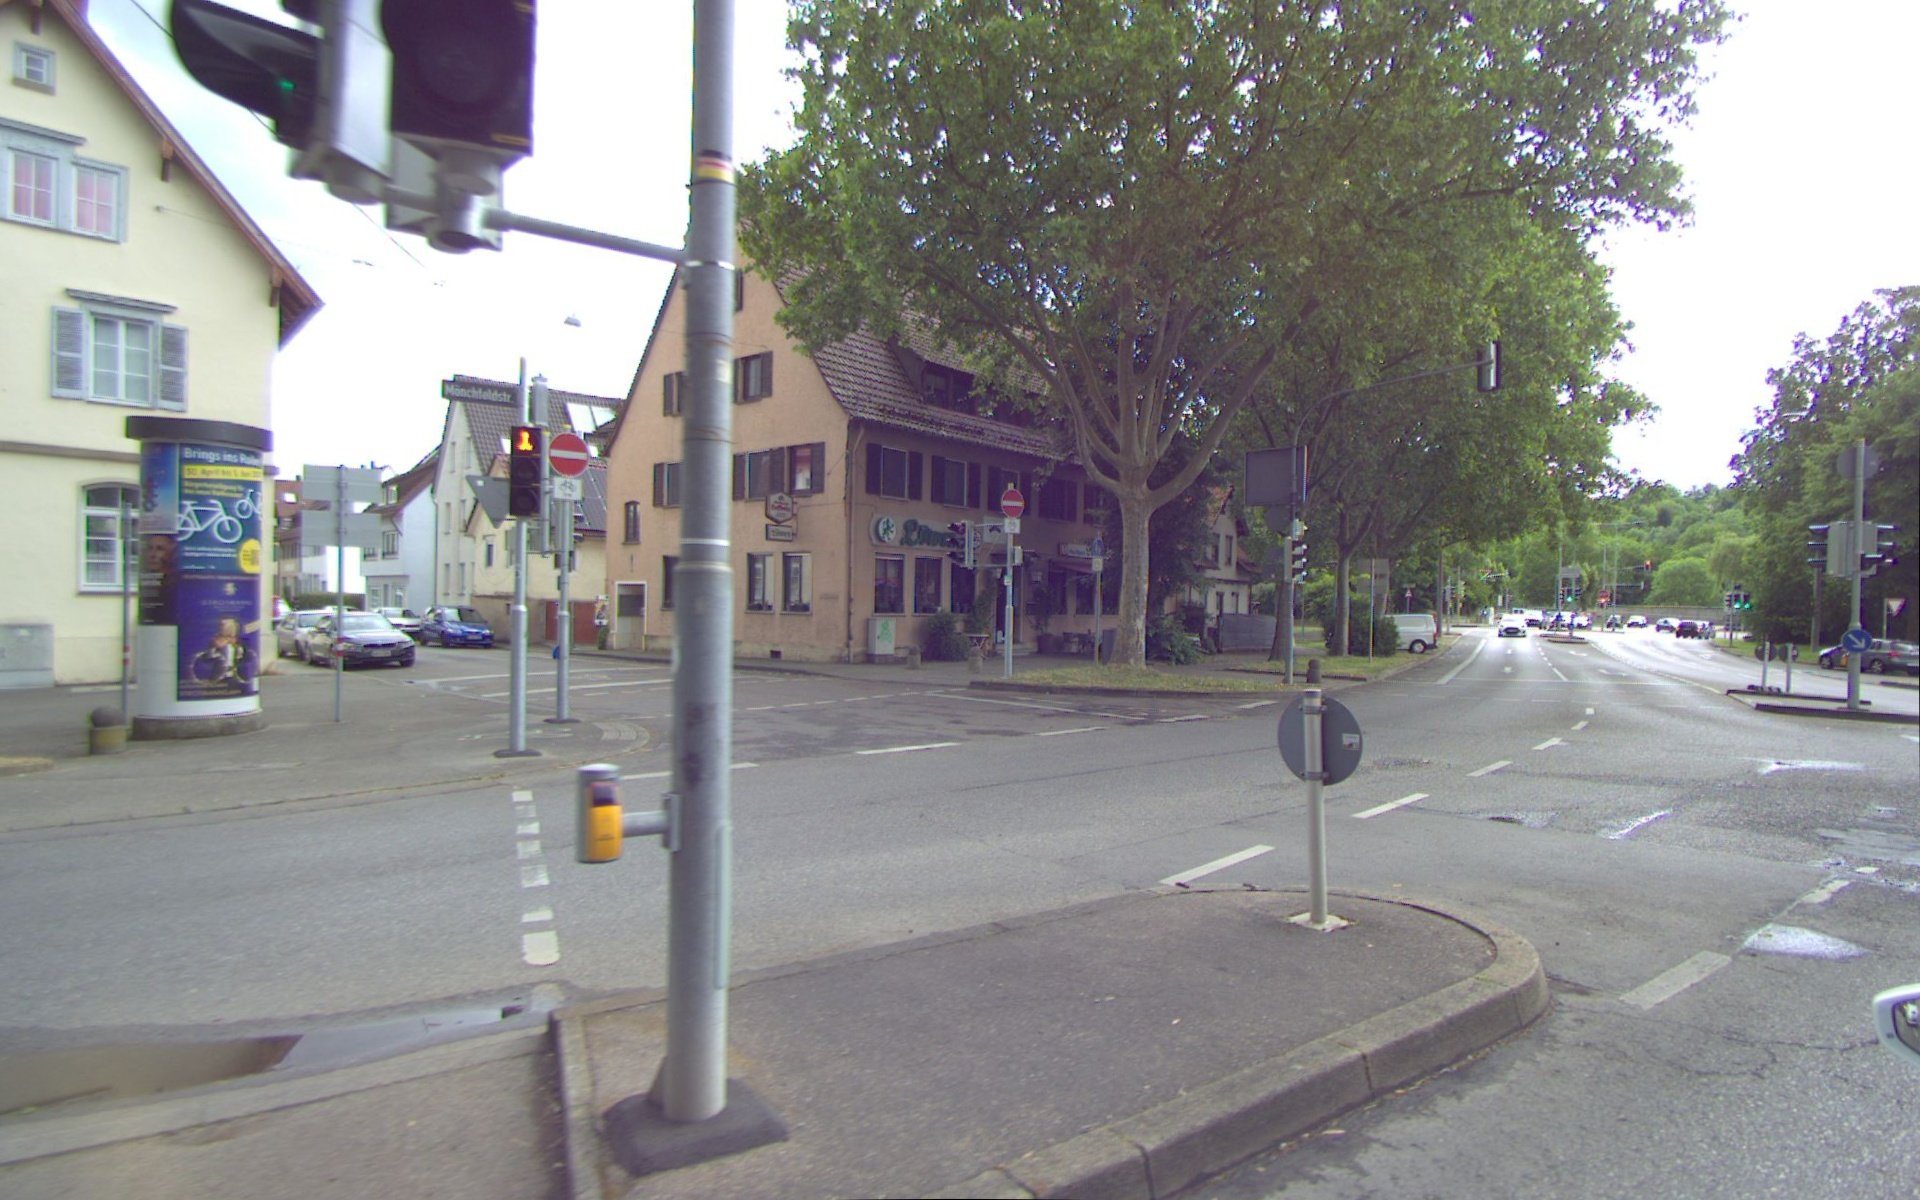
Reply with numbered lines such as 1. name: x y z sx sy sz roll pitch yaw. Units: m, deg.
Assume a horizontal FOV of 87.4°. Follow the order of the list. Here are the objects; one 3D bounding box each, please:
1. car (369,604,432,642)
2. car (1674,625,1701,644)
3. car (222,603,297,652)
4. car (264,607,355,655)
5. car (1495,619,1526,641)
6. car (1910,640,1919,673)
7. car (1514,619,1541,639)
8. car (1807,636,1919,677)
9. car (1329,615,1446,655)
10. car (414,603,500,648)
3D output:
1. car: -25.117 1.021 45.038 1.752 1.574 3.670 2 -1 -40
2. car: 61.568 2.882 85.058 1.798 1.529 4.559 1 -1 35
3. car: -26.253 0.986 37.601 1.734 1.706 3.794 2 -1 -43
4. car: -19.891 0.932 30.670 1.700 1.332 3.816 2 -1 -43
5. car: 38.717 2.118 70.591 1.737 1.485 4.013 0 -2 31
6. car: 42.972 2.483 42.642 4.187 1.399 1.761 2 0 -12
7. car: 51.280 2.604 90.707 1.772 1.608 4.401 -1 -1 34
8. car: 39.424 2.406 43.676 1.699 1.448 4.112 1 1 1
9. car: 21.350 1.758 50.395 5.138 1.957 2.085 -1 -1 17
10. car: -18.951 0.939 37.790 3.618 1.534 1.817 1 -1 44
